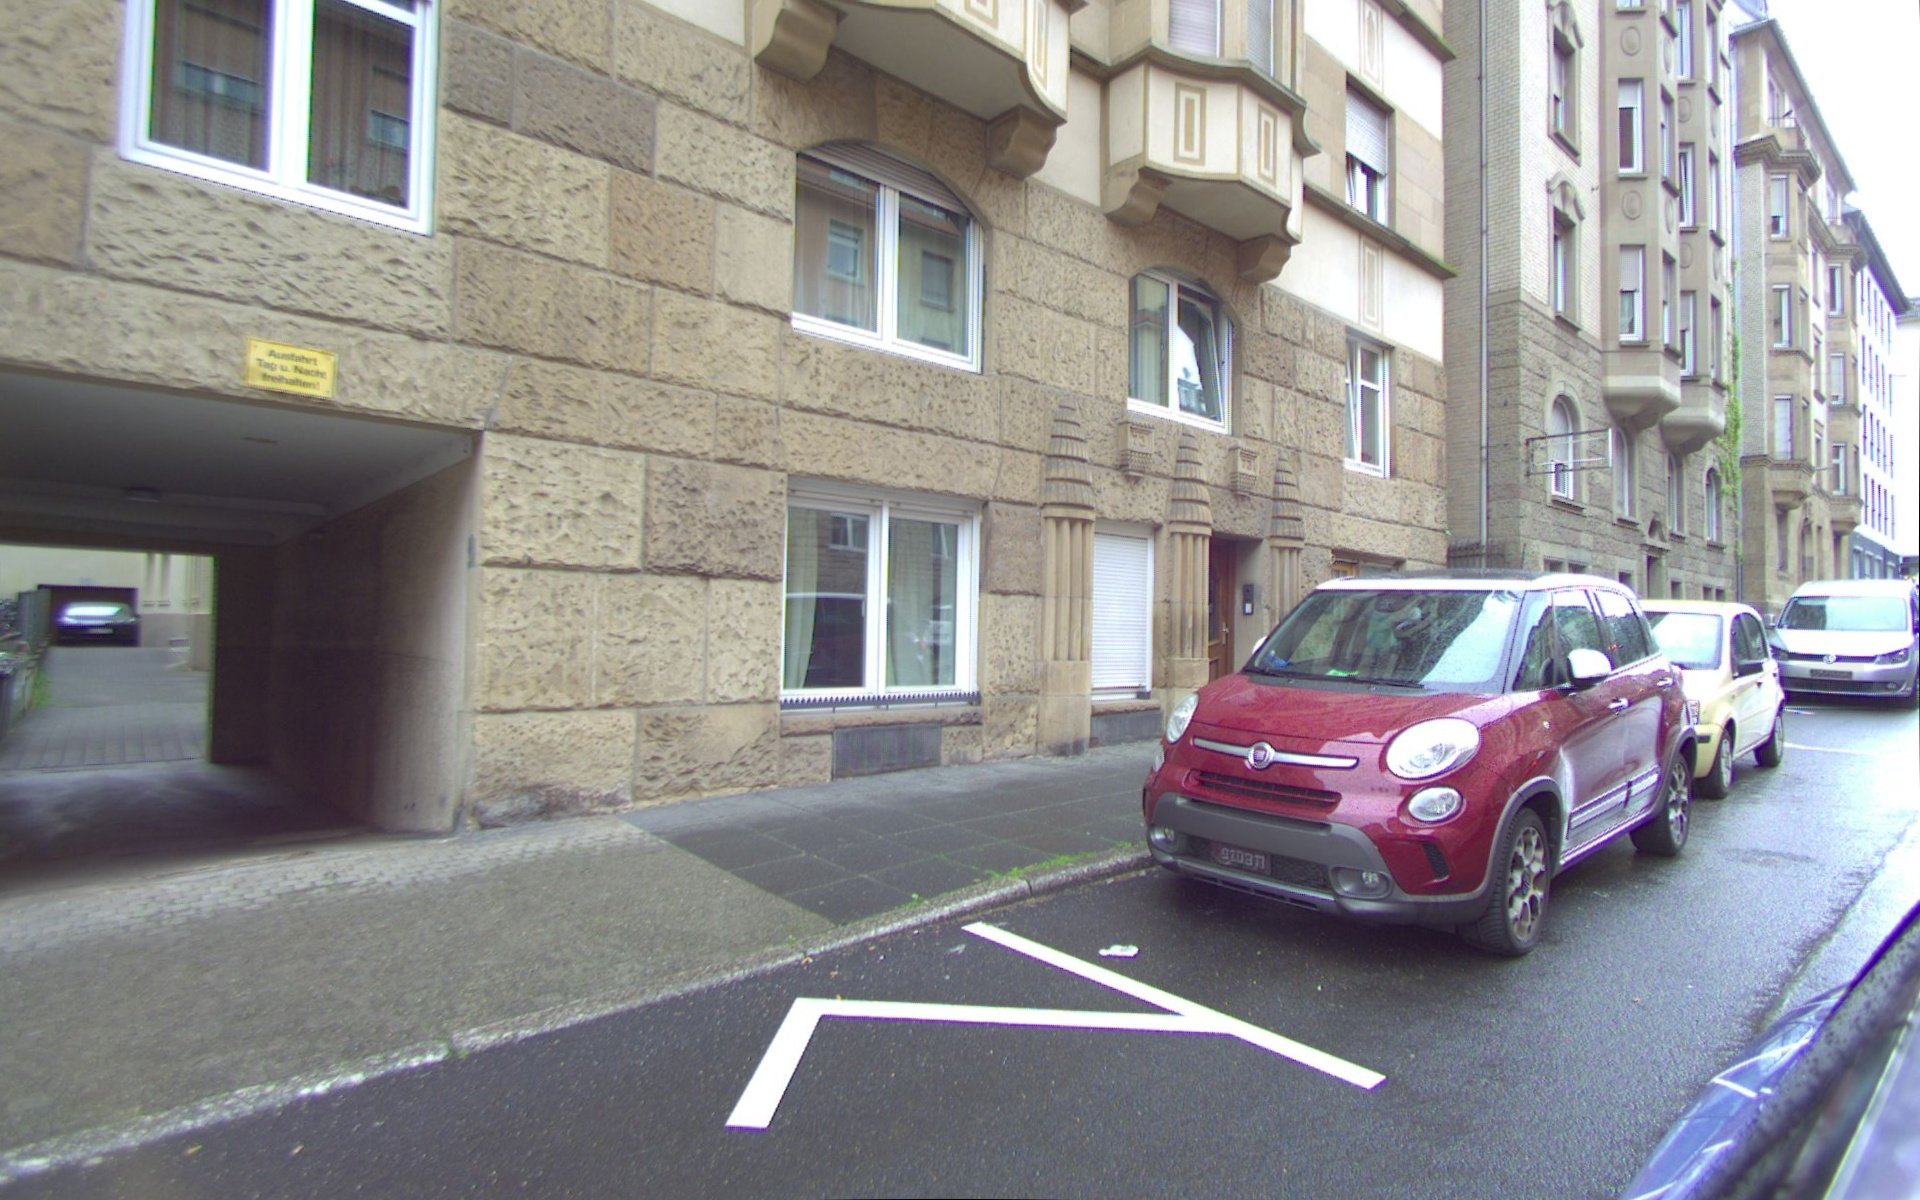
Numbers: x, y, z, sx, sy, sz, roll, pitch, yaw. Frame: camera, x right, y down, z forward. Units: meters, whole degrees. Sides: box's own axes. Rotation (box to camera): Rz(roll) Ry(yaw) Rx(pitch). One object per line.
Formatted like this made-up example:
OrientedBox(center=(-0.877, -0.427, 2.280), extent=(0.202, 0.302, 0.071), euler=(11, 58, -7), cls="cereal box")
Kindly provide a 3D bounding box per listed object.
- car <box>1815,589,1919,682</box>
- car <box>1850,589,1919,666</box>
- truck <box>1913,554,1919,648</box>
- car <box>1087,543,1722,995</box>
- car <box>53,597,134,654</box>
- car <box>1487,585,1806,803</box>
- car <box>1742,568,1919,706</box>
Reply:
OrientedBox(center=(17.167, 0.597, 18.509), extent=(3.934, 1.549, 1.994), euler=(0, -1, -45), cls="car")
OrientedBox(center=(20.473, 0.544, 21.449), extent=(3.860, 1.549, 1.889), euler=(0, -1, -41), cls="car")
OrientedBox(center=(29.158, 0.021, 28.888), extent=(6.036, 2.568, 2.234), euler=(0, -1, -41), cls="truck")
OrientedBox(center=(2.675, 0.608, 5.638), extent=(3.932, 1.619, 1.804), euler=(0, -1, -42), cls="car")
OrientedBox(center=(-25.190, 0.706, 29.462), extent=(1.692, 1.541, 4.098), euler=(0, -1, -41), cls="car")
OrientedBox(center=(6.196, 0.671, 9.000), extent=(3.517, 1.549, 1.578), euler=(0, -1, -43), cls="car")
OrientedBox(center=(13.759, 0.497, 15.518), extent=(4.380, 1.825, 1.966), euler=(0, -1, -41), cls="car")
